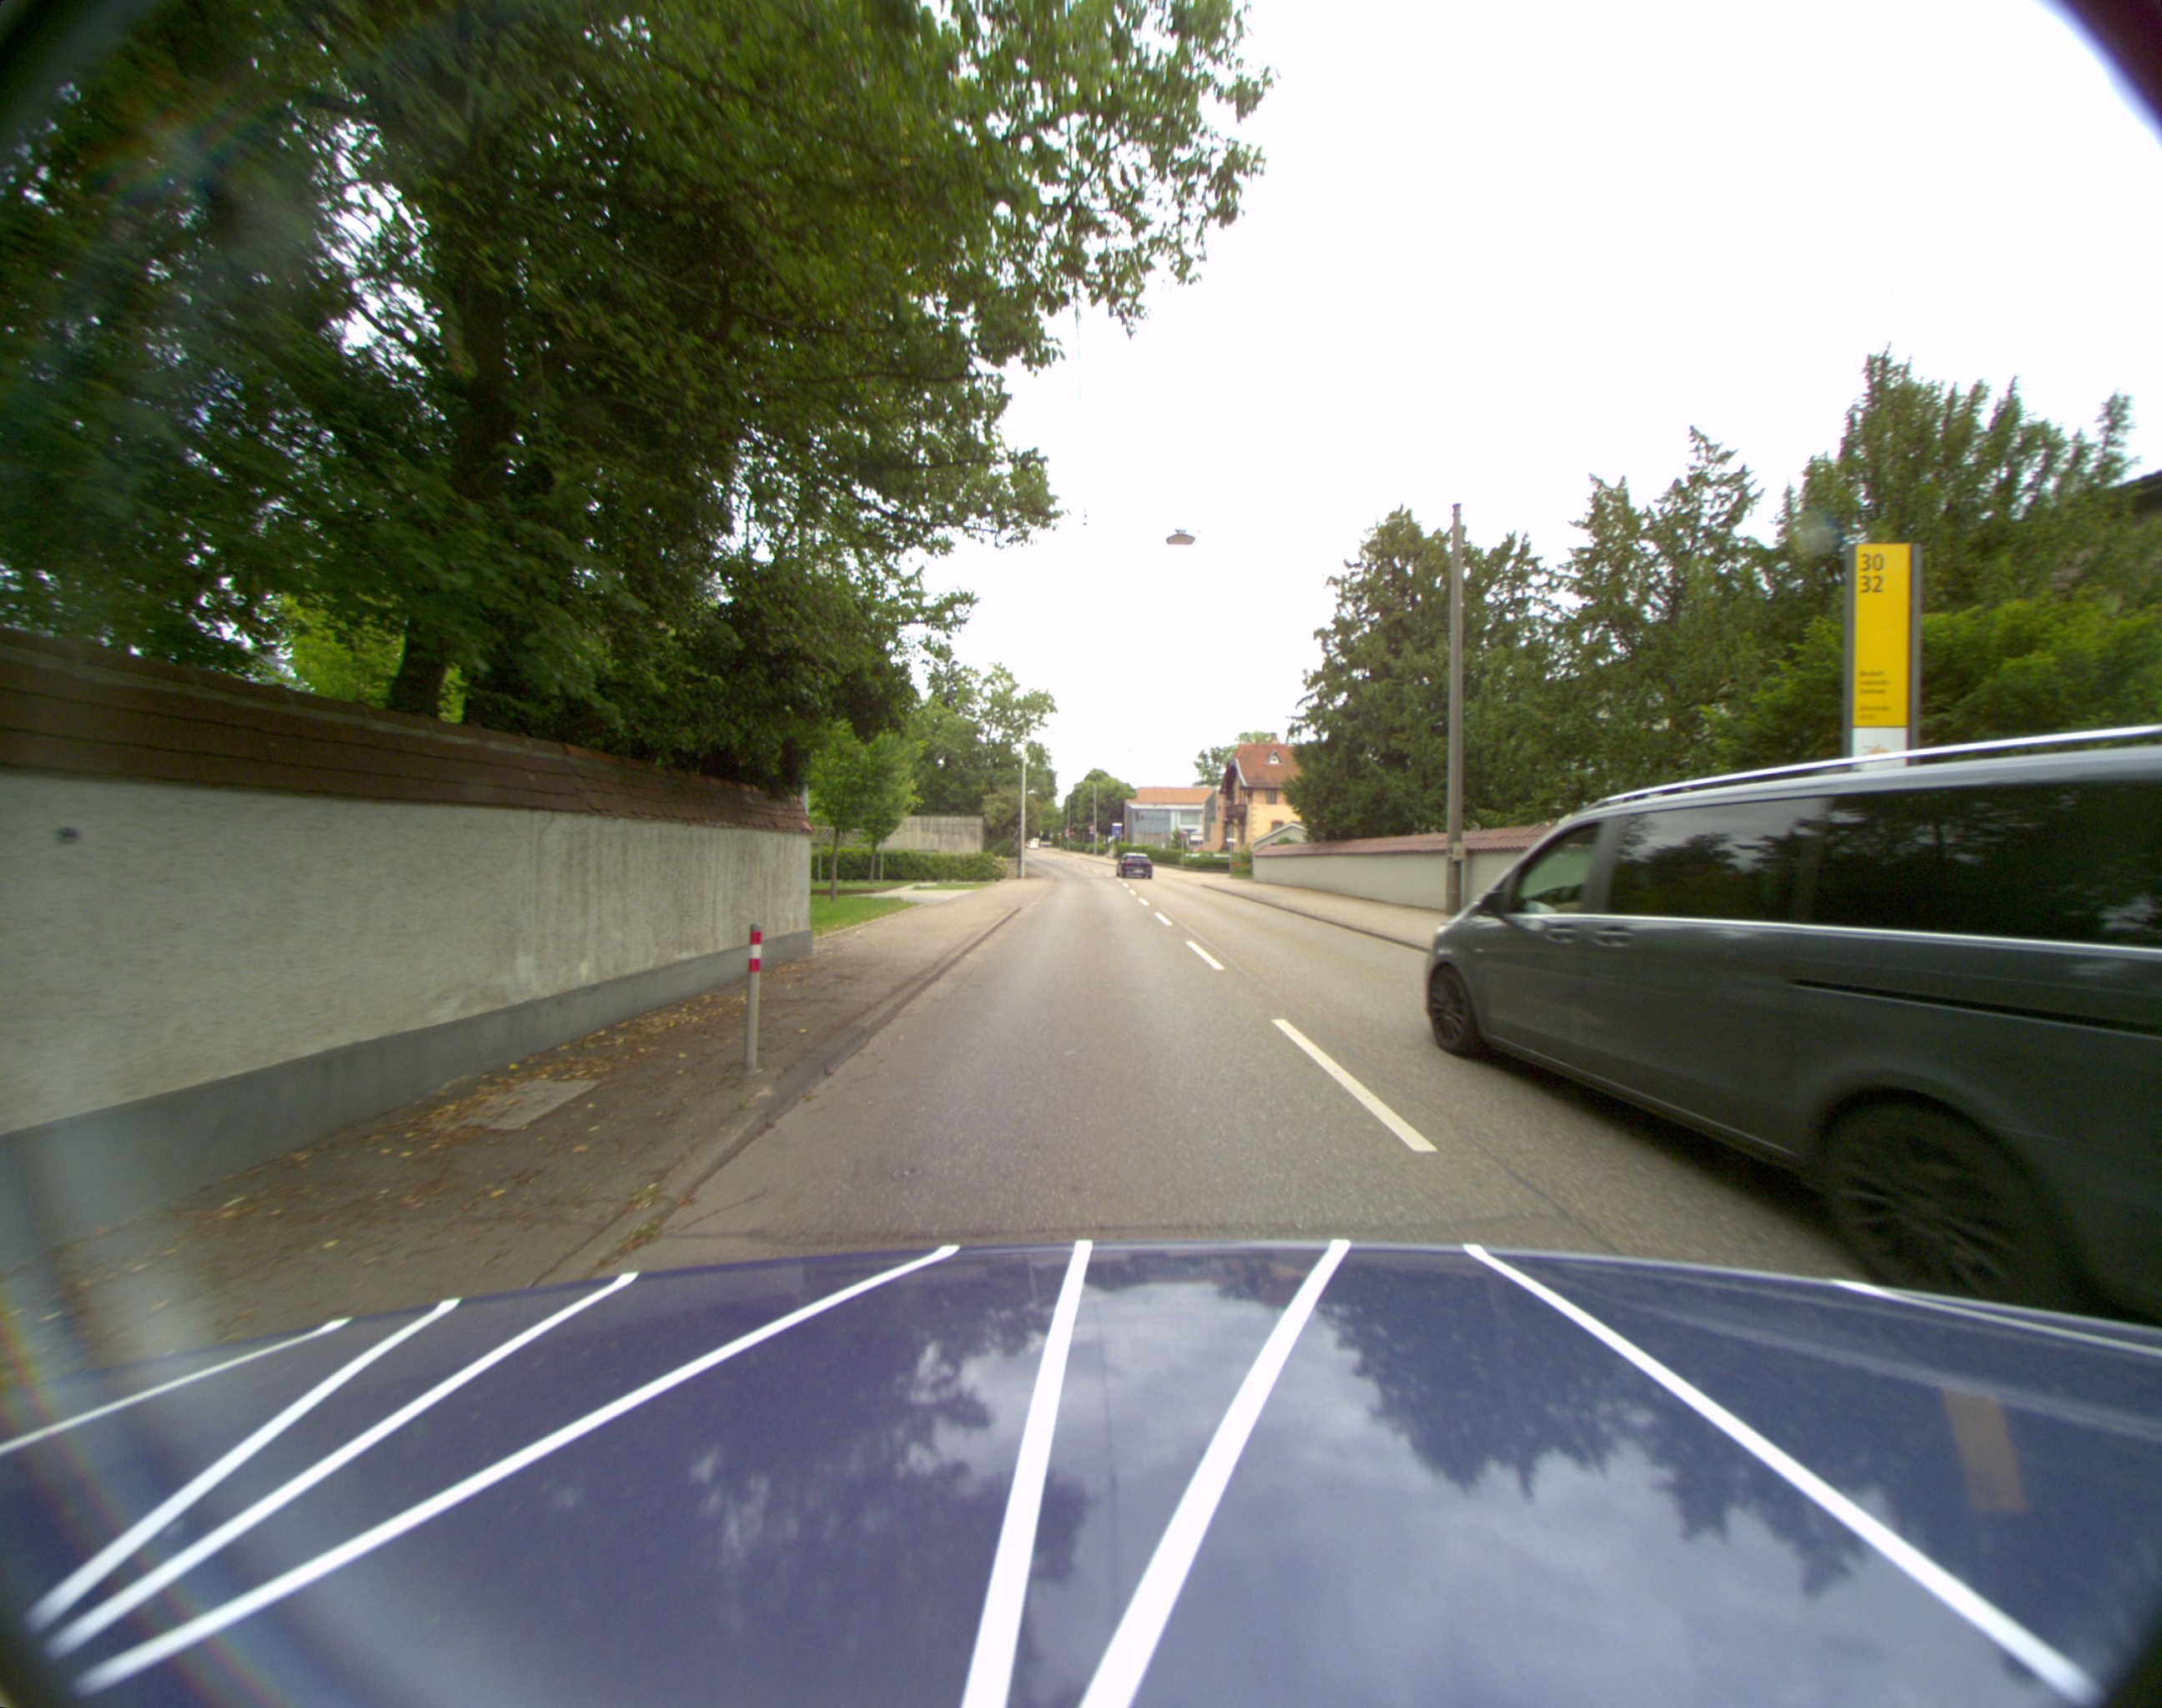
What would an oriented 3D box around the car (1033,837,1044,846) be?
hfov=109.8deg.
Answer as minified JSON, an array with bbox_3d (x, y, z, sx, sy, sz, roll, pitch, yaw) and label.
[{"bbox_3d":[-8.368,-2.512,149.004,2.000,1.702,3.996,0,1,-7],"label":"car"}]

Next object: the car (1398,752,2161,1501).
[{"bbox_3d":[3.620,0.673,3.771,1.895,1.845,5.082,2,1,0],"label":"car"}]

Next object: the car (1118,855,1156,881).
[{"bbox_3d":[3.236,0.792,44.573,1.790,1.420,3.999,0,1,-2],"label":"car"}]
